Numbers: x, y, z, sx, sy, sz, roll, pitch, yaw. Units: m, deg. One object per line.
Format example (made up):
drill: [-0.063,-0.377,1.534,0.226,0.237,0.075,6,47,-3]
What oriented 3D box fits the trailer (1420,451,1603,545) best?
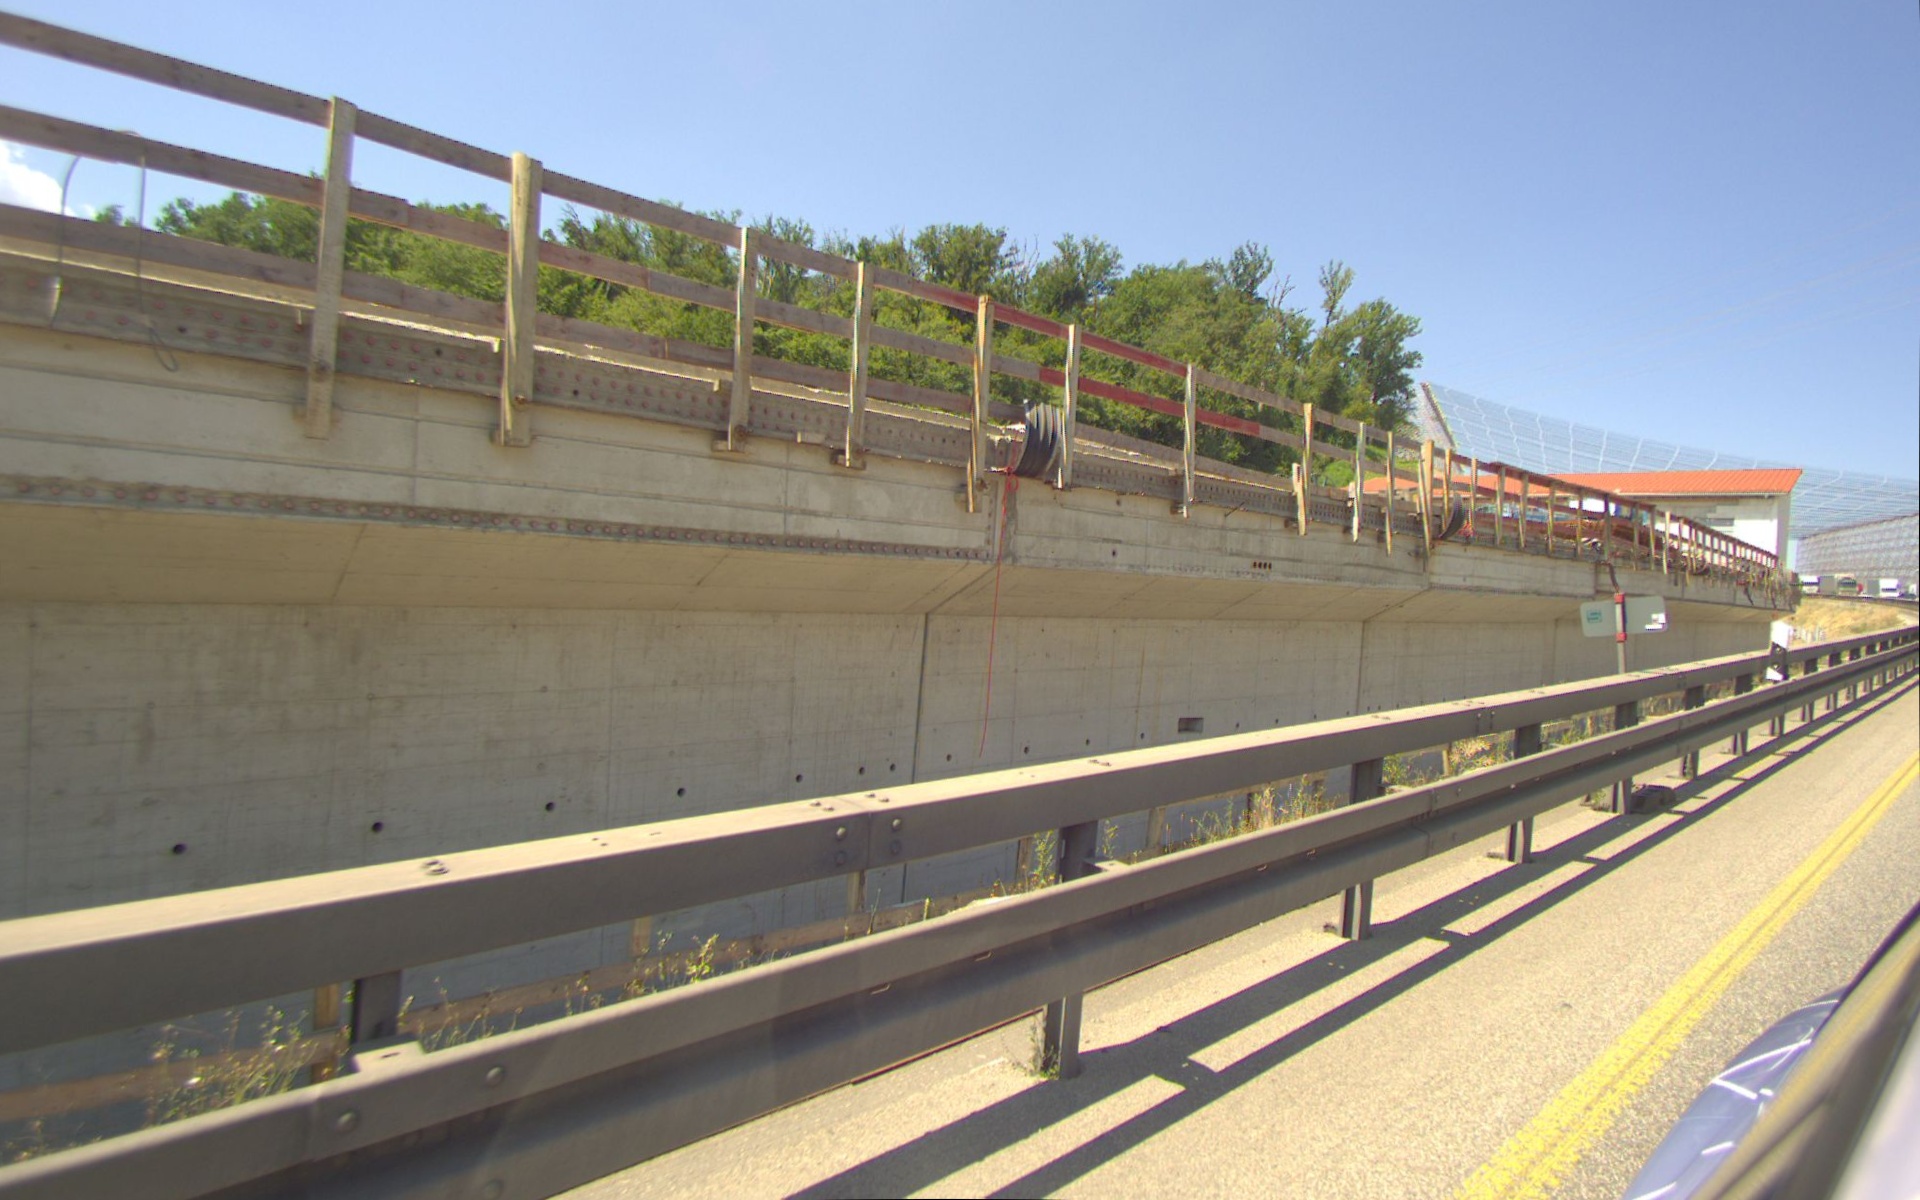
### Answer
trailer: [27.218,-4.904,49.892,8.806,3.741,2.725,3,0,-21]

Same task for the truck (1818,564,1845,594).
truck: [147.595,-3.603,171.529,3.027,4.865,8.820,0,1,38]

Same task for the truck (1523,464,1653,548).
truck: [32.108,-4.724,51.791,5.590,3.741,2.725,3,0,-21]

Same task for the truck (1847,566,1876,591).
truck: [153.777,-3.649,172.686,3.027,4.107,8.558,0,1,38]

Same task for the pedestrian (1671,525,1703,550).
pedestrian: [34.560,-2.972,48.119,0.976,1.165,1.022,-1,1,-38]
